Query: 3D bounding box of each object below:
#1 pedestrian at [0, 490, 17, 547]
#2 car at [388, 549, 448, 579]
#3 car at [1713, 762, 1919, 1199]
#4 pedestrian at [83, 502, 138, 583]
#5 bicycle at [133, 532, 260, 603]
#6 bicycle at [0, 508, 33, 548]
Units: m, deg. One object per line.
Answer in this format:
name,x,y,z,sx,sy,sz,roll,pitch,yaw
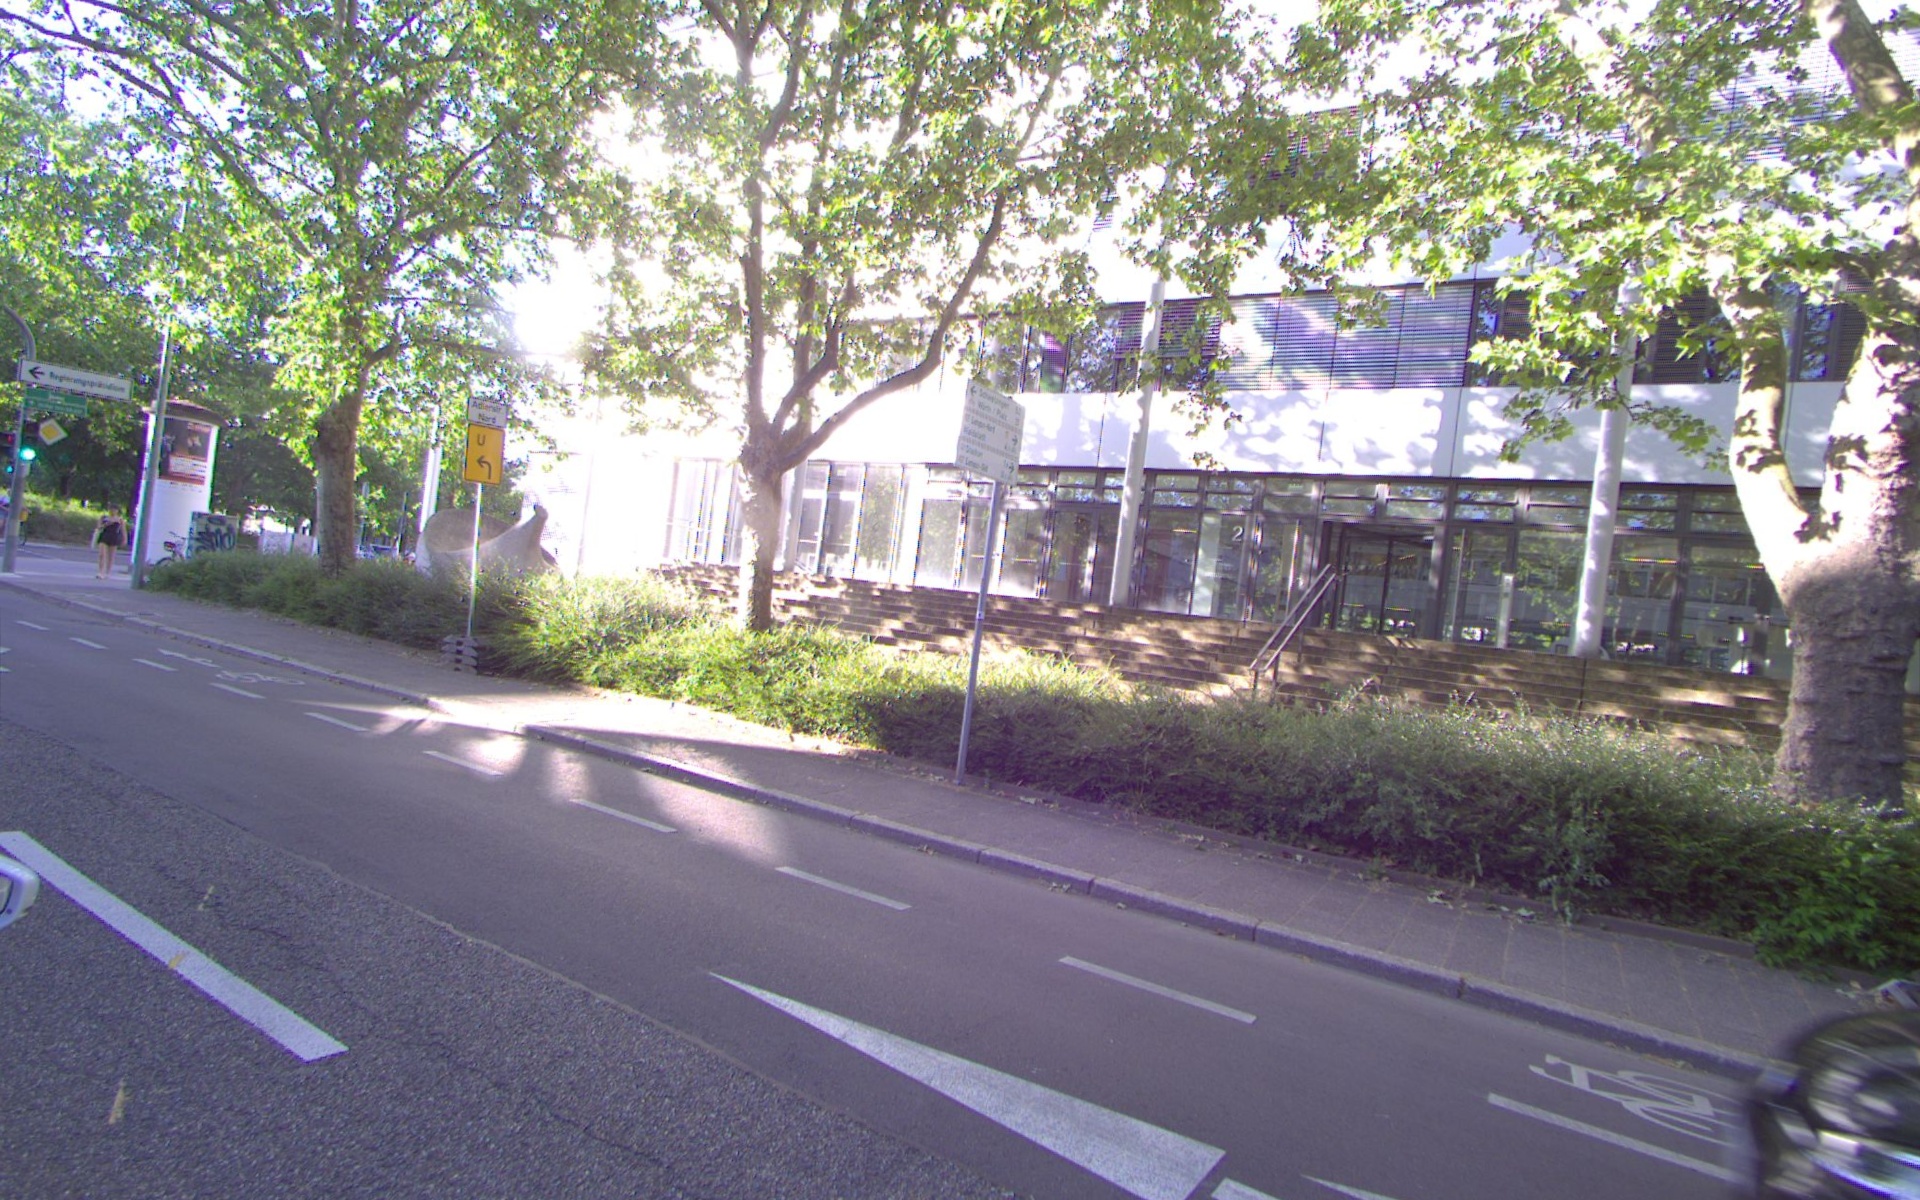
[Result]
pedestrian,-30.108,-2.585,31.365,0.955,1.717,0.684,6,-1,36
car,-35.558,-2.340,65.971,3.732,1.500,1.633,6,-2,31
car,3.691,1.336,1.578,3.842,1.456,1.691,6,-3,36
pedestrian,-18.505,-1.243,21.917,0.794,1.651,0.897,5,1,-41
bicycle,-15.935,-0.657,21.057,0.519,1.203,1.980,7,-2,30
bicycle,-29.856,-2.272,31.688,1.714,1.113,0.524,6,-1,36
